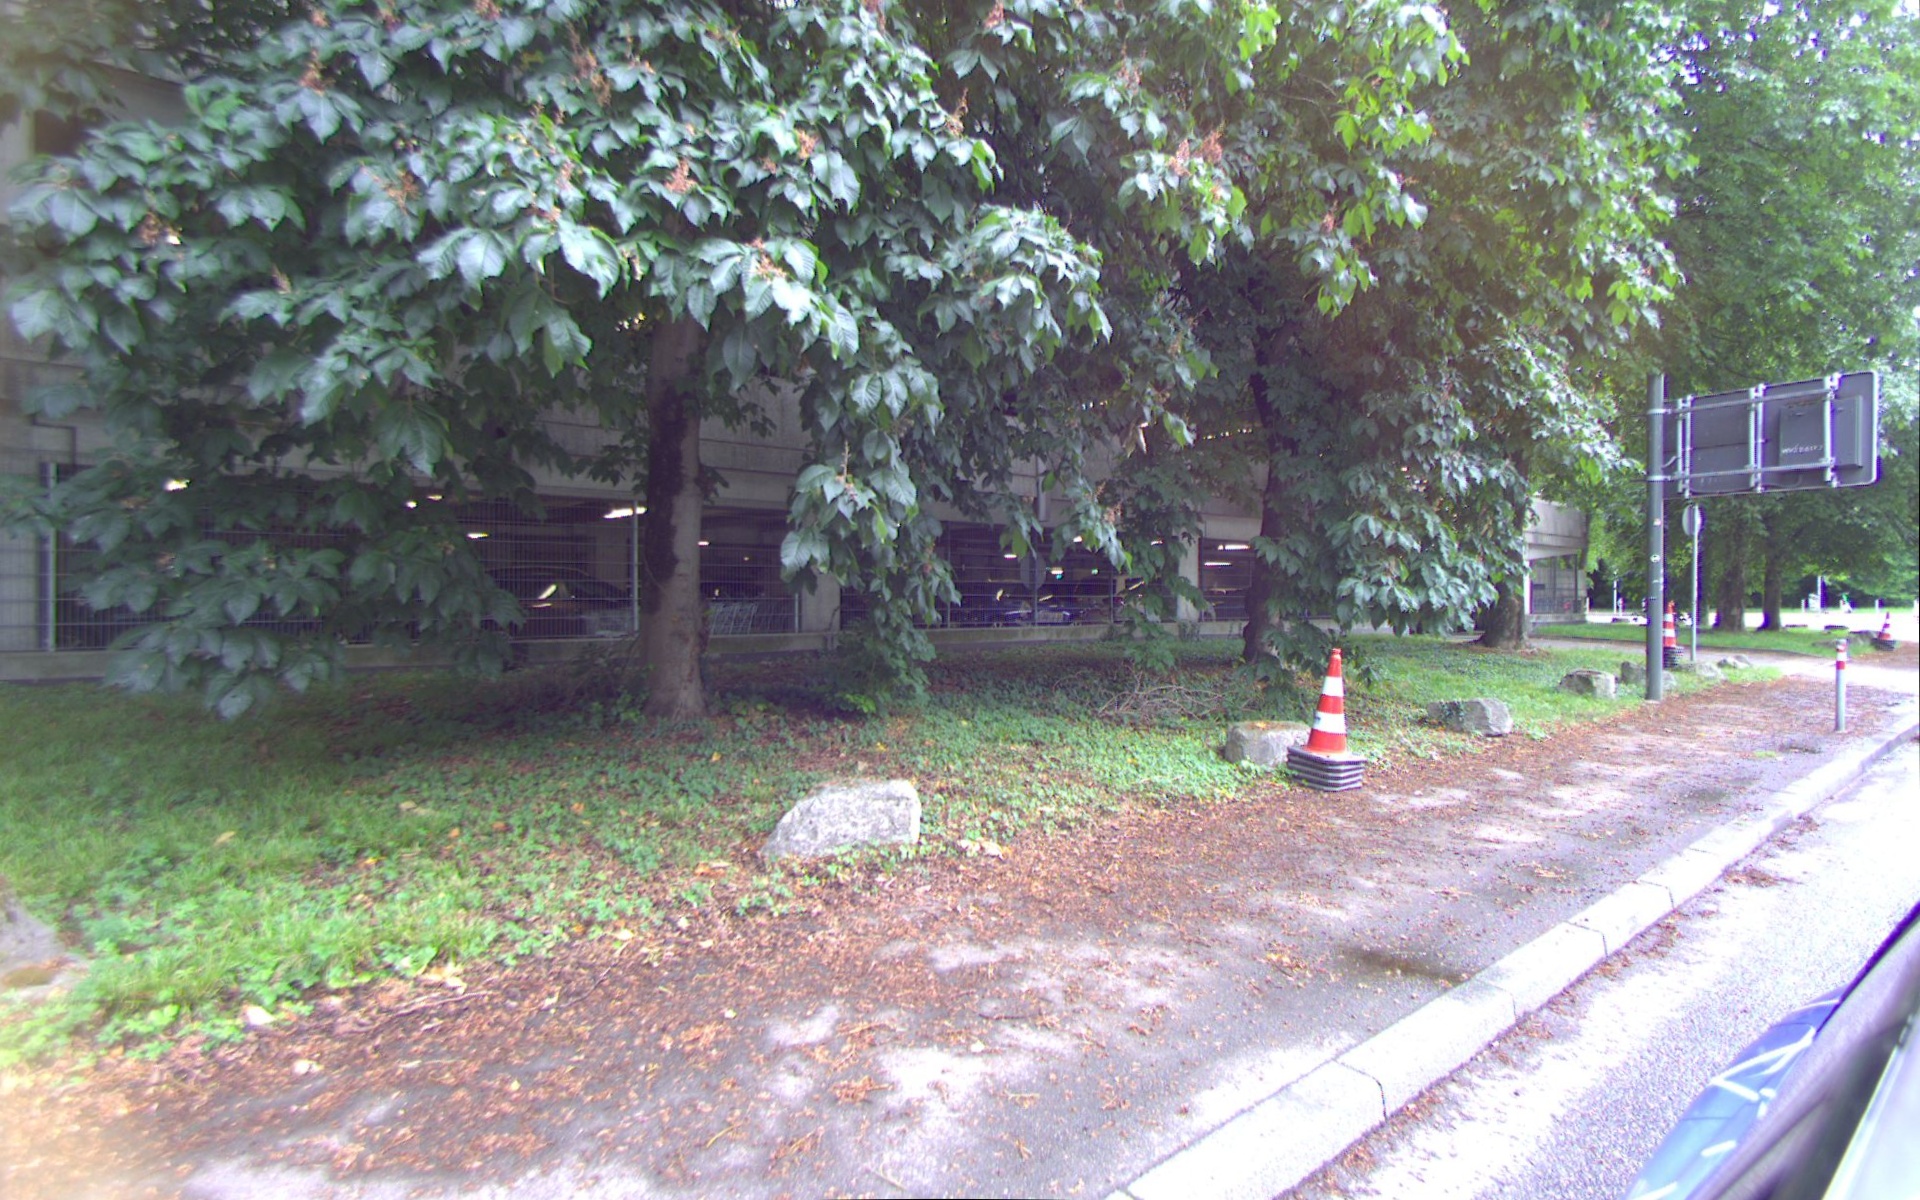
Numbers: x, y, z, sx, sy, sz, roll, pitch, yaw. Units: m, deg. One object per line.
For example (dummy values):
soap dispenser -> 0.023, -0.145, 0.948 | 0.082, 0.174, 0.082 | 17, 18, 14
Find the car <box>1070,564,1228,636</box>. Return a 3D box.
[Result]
car -> 5.072, -0.041, 26.820 | 4.587, 1.730, 1.588 | -2, 0, -41

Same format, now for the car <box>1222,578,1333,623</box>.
car -> 11.358, -0.007, 36.146 | 3.927, 1.471, 1.876 | -2, 1, -38

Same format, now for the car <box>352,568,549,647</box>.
car -> -11.448, 0.126, 22.845 | 3.639, 1.627, 1.718 | -2, 1, -42

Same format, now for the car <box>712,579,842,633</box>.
car -> -5.720, 0.163, 31.859 | 3.638, 1.565, 1.719 | -2, 1, -41

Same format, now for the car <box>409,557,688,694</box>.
car -> -6.875, 0.334, 17.081 | 3.929, 2.039, 1.997 | -2, 0, -40

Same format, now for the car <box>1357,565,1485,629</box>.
car -> 14.540, -0.098, 31.809 | 4.653, 1.858, 1.922 | -1, 0, -41

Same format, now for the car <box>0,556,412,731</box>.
car -> -10.335, 0.462, 13.895 | 4.594, 2.039, 1.996 | -2, 0, -41

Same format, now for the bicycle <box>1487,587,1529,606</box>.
bicycle -> 35.069, -0.225, 64.757 | 0.736, 1.137, 2.252 | -2, 0, -44

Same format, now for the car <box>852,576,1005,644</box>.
car -> -0.766, 0.214, 25.799 | 3.639, 1.565, 1.718 | -2, 1, -42

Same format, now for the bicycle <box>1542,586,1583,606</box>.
bicycle -> 37.234, -0.241, 62.569 | 0.765, 1.157, 2.047 | -3, 1, -42

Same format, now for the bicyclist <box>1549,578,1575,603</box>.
bicyclist -> 37.222, -0.597, 62.572 | 0.912, 1.514, 1.099 | -3, 1, -42

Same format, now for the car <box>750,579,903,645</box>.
car -> -3.453, 0.279, 26.543 | 3.639, 1.565, 1.718 | -2, 1, -42

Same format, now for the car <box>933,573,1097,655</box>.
car -> 1.349, 0.281, 23.806 | 3.791, 1.730, 1.588 | -2, 0, -41

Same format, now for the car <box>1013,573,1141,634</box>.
car -> 3.444, 0.069, 29.414 | 3.629, 1.606, 1.718 | -2, 1, -42

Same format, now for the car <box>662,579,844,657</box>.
car -> -4.592, 0.351, 22.699 | 3.639, 1.565, 1.718 | -2, 1, -42

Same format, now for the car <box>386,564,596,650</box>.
car -> -9.759, 0.097, 21.201 | 3.639, 1.627, 1.718 | -2, 1, -42
